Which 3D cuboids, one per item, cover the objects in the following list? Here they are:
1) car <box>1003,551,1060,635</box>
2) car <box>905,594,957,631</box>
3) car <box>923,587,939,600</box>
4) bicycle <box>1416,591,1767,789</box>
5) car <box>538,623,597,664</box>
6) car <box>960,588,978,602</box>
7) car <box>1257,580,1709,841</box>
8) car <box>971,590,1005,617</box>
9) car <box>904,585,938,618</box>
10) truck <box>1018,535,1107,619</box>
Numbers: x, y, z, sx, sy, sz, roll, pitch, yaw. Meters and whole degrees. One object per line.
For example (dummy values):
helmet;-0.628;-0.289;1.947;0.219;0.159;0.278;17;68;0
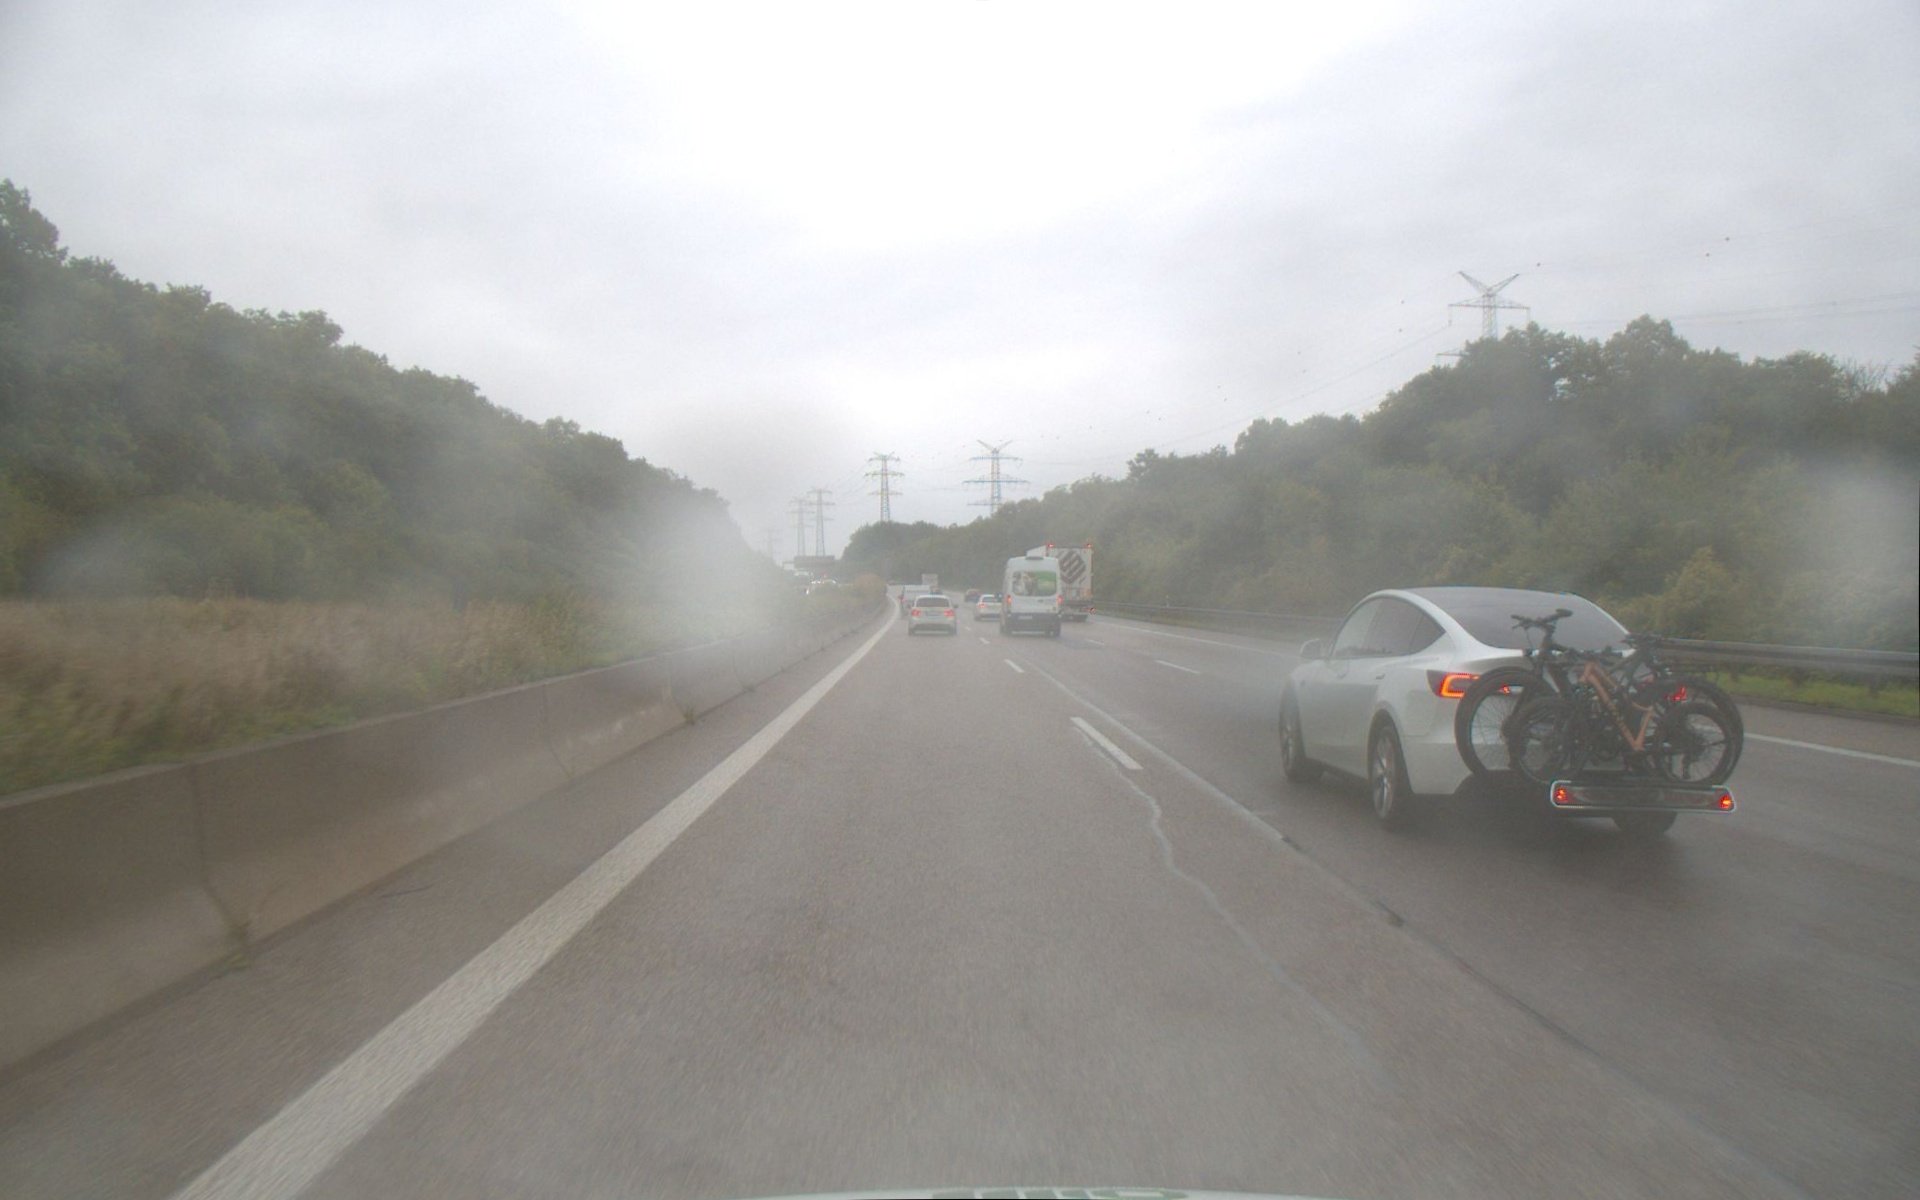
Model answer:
car;2.528;-0.253;59.424;1.952;2.914;4.000;0;0;1
car;-1.017;0.427;59.890;1.828;1.310;4.000;0;0;0
car;-3.788;-0.888;217.152;1.953;1.601;3.999;-2;-1;0
bicycle;3.674;0.509;9.750;1.717;1.110;0.913;0;-1;-1
car;-15.825;1.750;66.831;1.626;1.512;3.475;-1;0;-2
car;1.009;-0.578;188.683;1.953;1.512;3.999;-3;0;-1
car;3.672;0.668;12.670;1.822;1.595;4.963;0;0;-1
car;1.518;0.179;89.886;1.818;1.447;4.000;0;1;1
car;-2.175;0.084;92.347;1.808;1.803;4.000;0;0;0
truck;5.661;-1.238;94.374;3.531;4.408;13.191;0;0;-3
